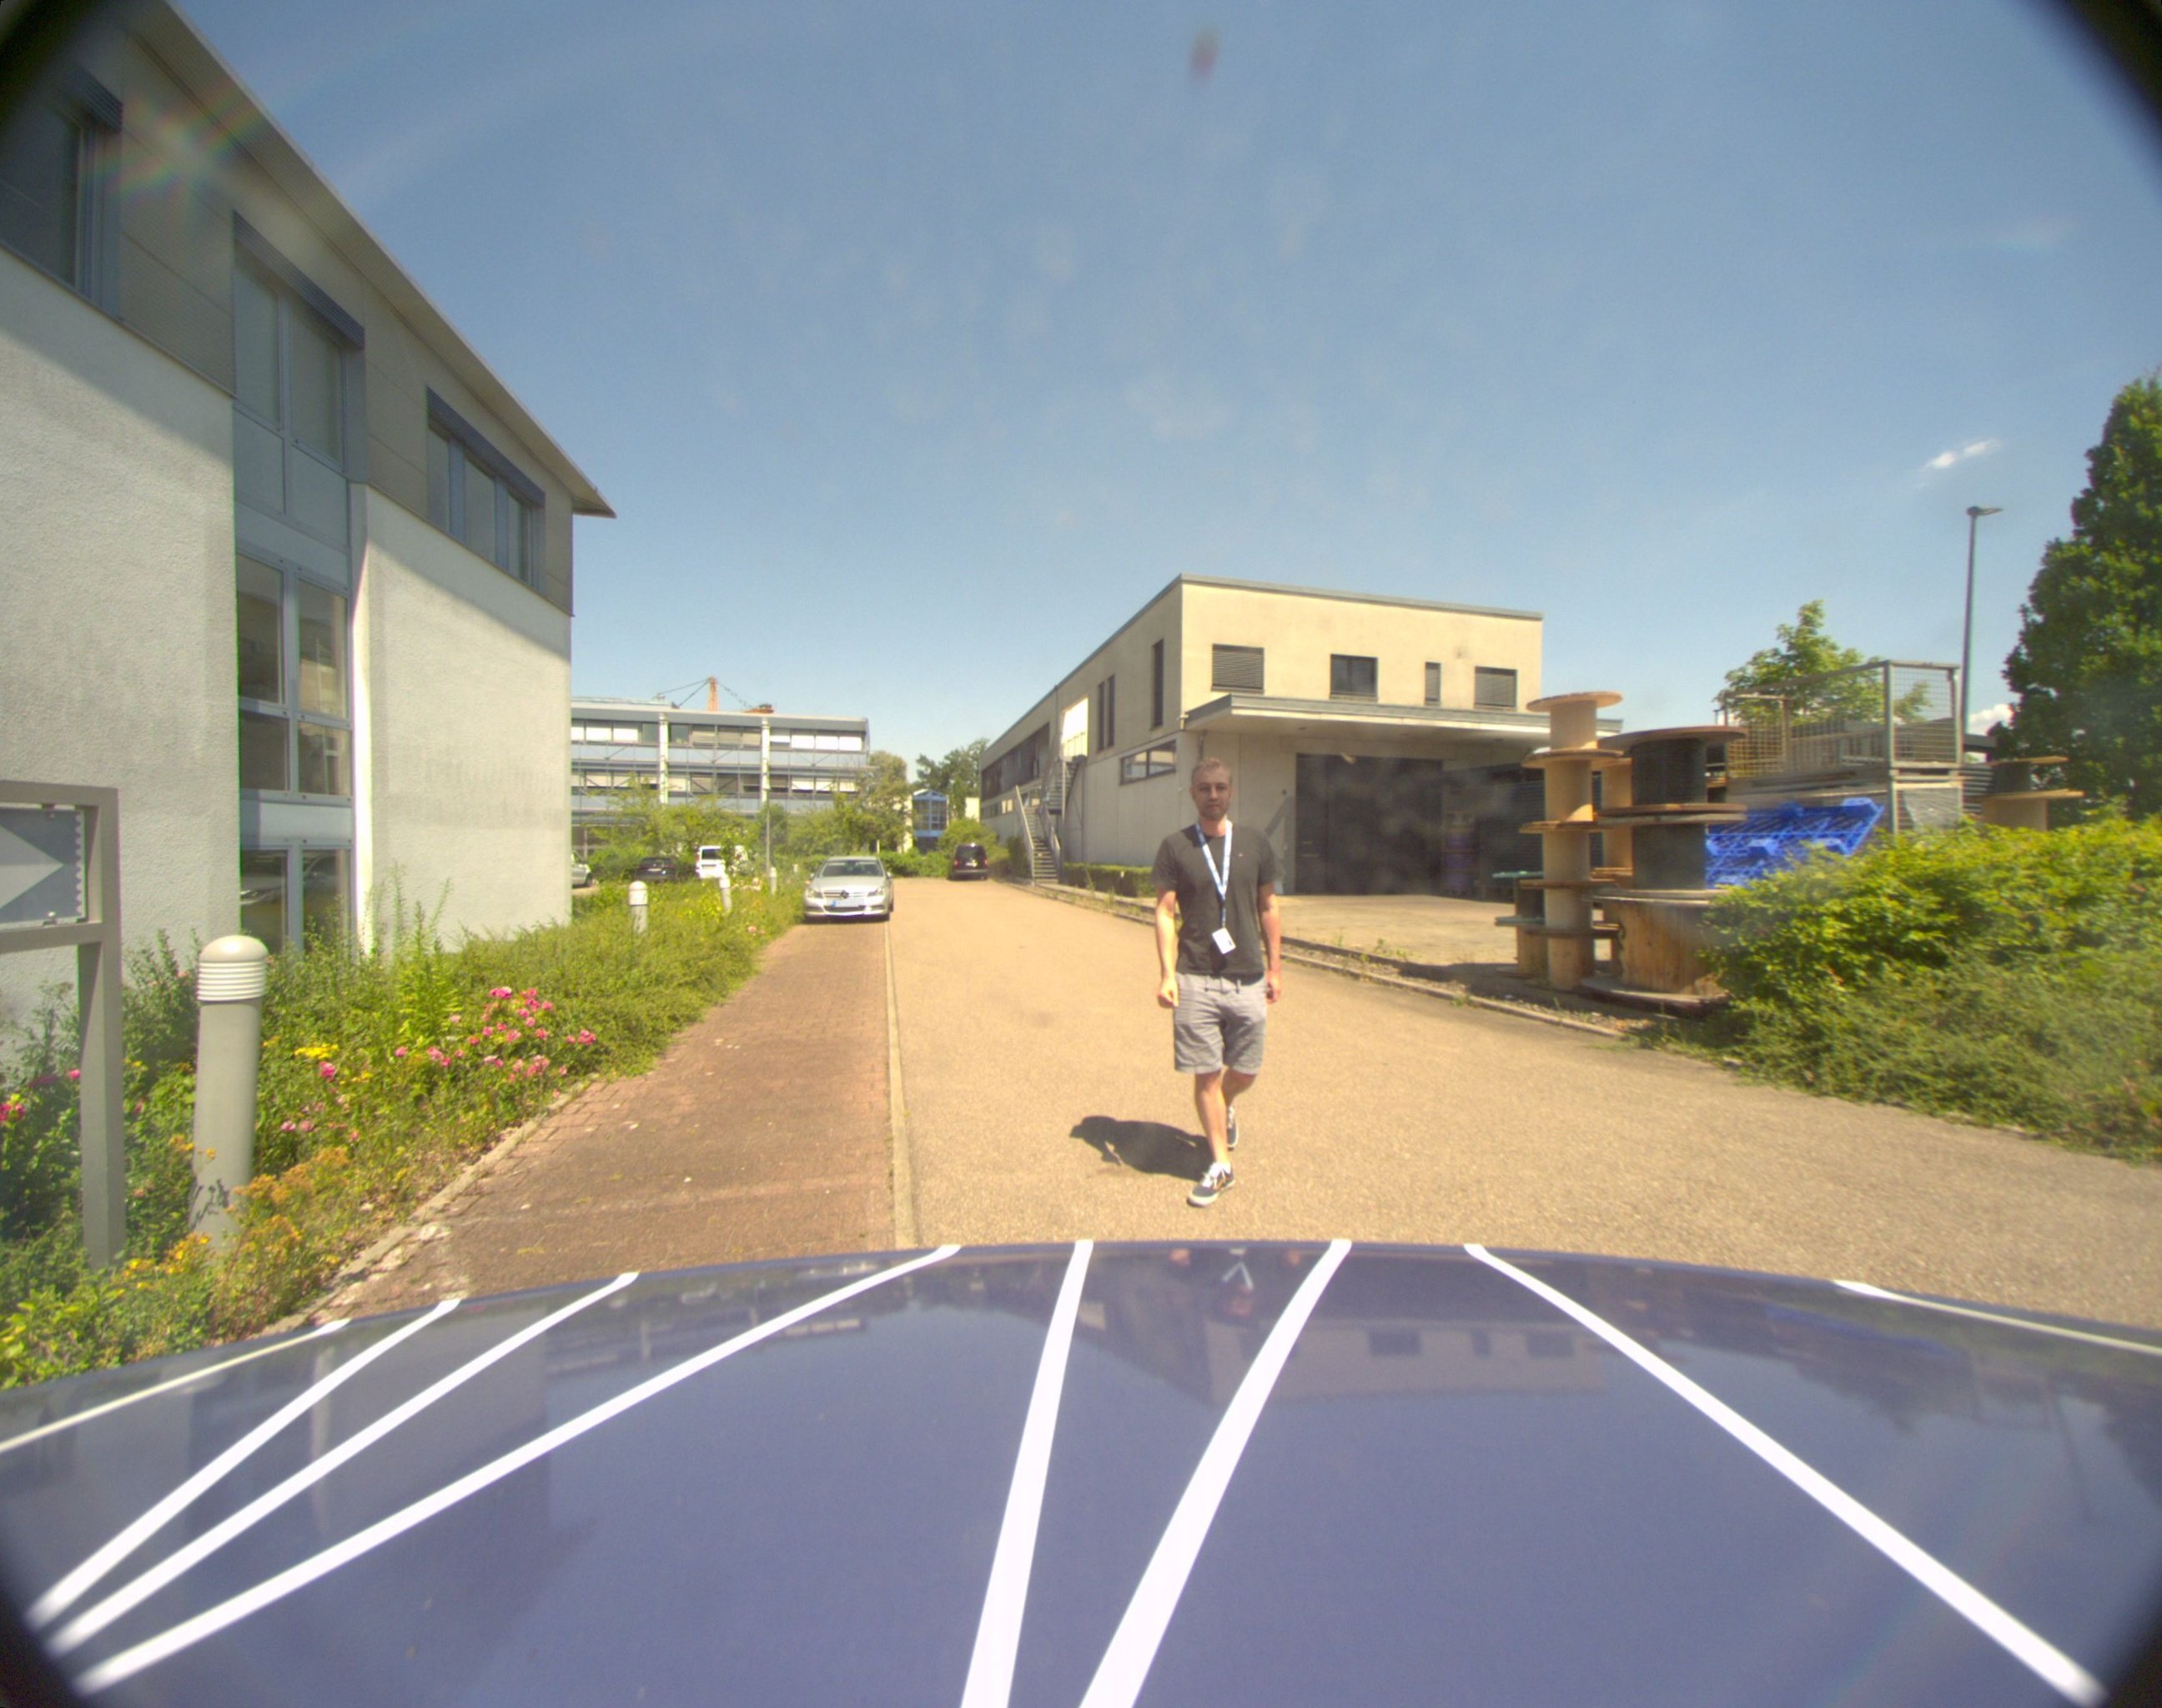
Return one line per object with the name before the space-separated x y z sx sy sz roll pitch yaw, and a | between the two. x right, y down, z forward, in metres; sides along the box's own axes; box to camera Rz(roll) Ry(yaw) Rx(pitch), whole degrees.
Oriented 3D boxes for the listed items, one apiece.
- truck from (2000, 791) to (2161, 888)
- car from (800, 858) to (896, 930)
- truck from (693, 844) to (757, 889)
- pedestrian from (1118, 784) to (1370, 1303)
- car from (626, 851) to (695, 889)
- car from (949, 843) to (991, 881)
truck | 31.055 -0.456 22.696 5.700 2.656 2.415 -1 1 -15
car | -5.232 0.827 17.498 1.713 1.383 3.807 0 1 -11
truck | -16.258 0.504 34.888 2.001 1.883 3.994 -1 1 -16
pedestrian | 0.654 0.664 3.153 0.859 1.809 0.905 -1 1 10
car | -19.178 0.669 34.821 1.789 1.537 3.994 -1 1 -14
car | -5.710 0.338 38.685 1.789 1.793 3.994 -1 1 -13
